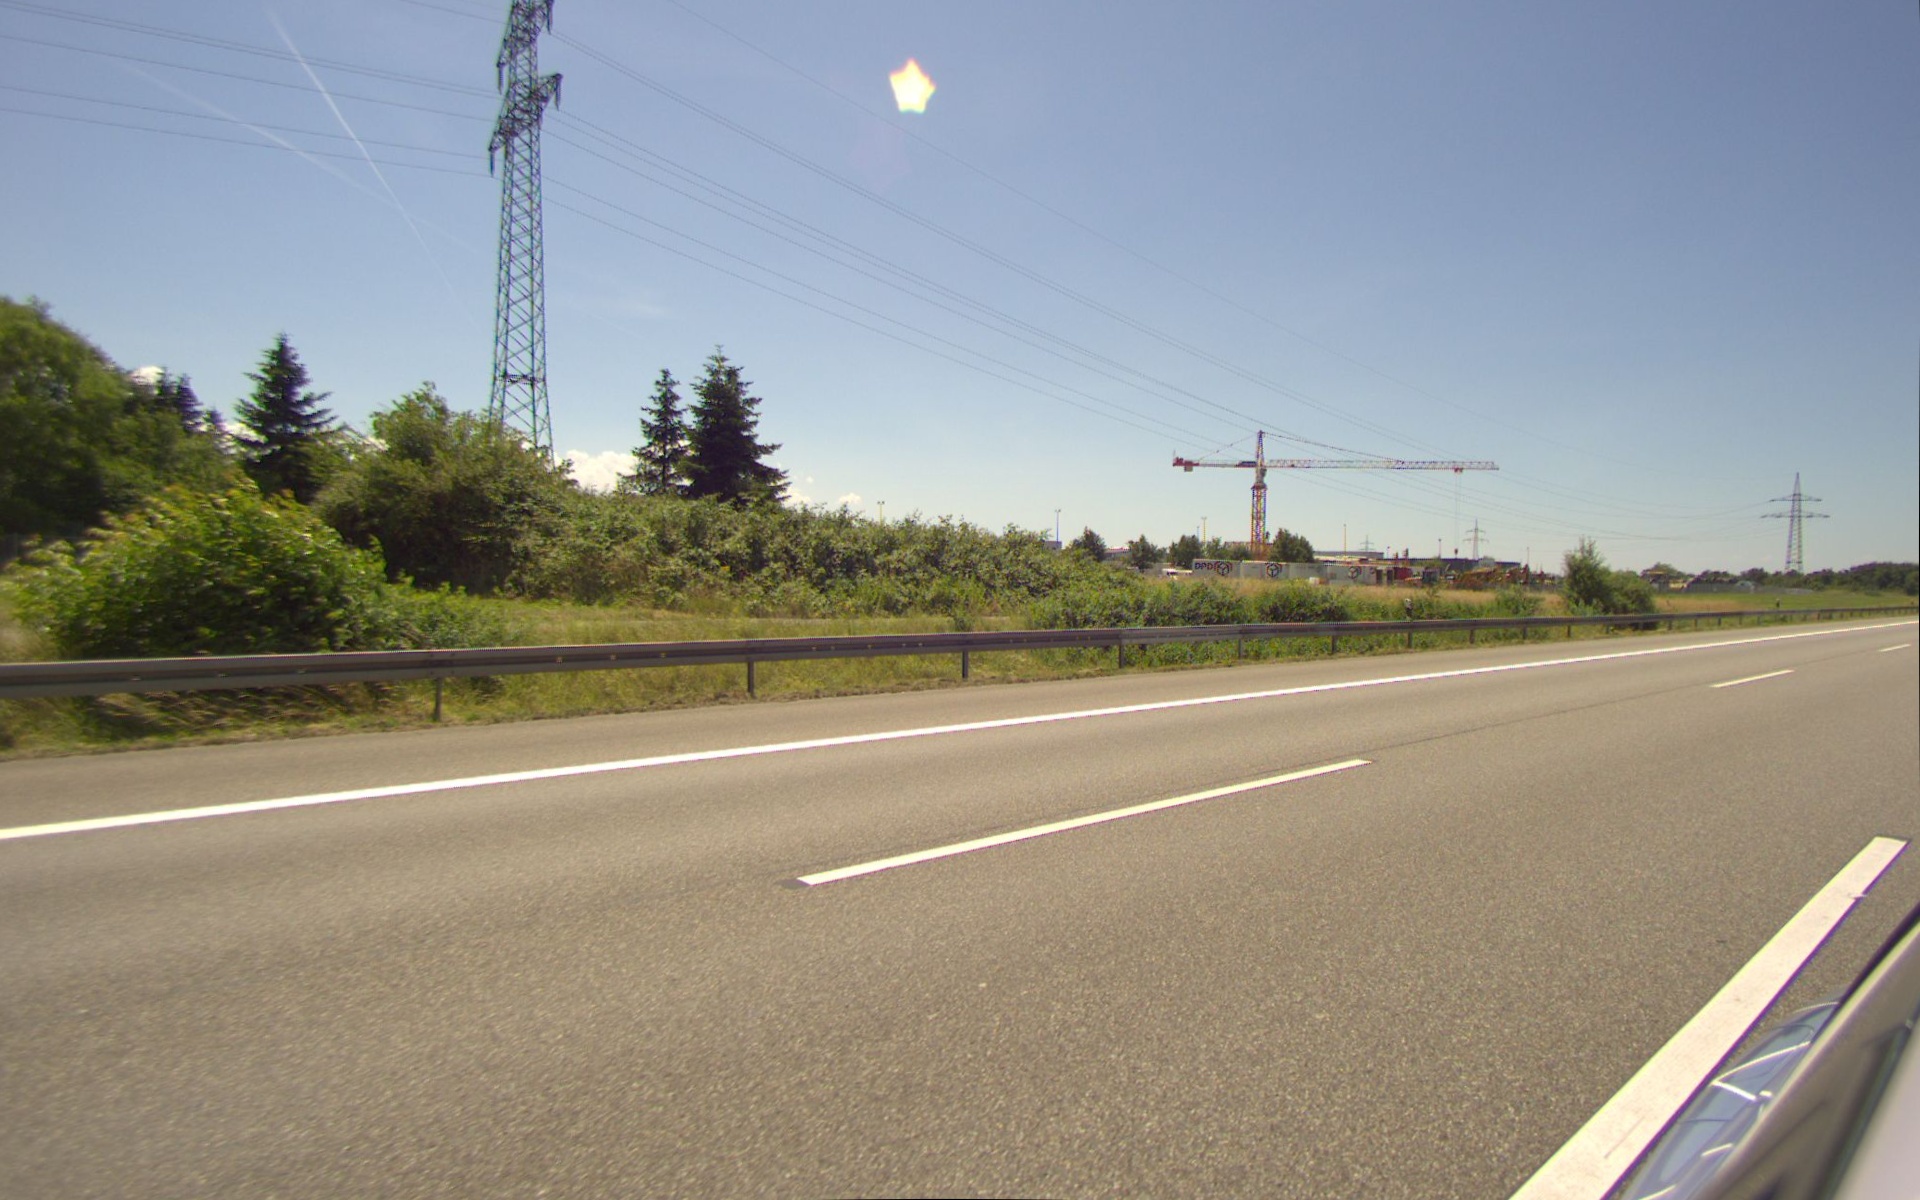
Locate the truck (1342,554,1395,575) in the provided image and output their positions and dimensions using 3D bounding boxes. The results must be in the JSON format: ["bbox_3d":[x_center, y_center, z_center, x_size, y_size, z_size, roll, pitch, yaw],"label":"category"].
[{"bbox_3d":[71.037,-6.198,176.059,8.134,3.454,2.797,3,3,39],"label":"truck"}]

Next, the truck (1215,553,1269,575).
[{"bbox_3d":[46.680,-5.973,167.482,8.120,3.454,2.604,3,2,34],"label":"truck"}]

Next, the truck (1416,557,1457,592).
[{"bbox_3d":[67.581,-3.530,143.507,5.876,4.833,3.050,0,0,-40],"label":"truck"}]

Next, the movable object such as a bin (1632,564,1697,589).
[{"bbox_3d":[131.521,-4.317,189.092,3.374,4.569,9.377,0,0,-38],"label":"movable object such as a bin"}]

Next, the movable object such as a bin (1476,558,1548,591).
[{"bbox_3d":[76.022,-3.416,139.499,3.290,4.351,8.112,0,0,-39],"label":"movable object such as a bin"}]

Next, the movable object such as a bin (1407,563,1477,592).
[{"bbox_3d":[61.061,-2.848,128.331,2.829,3.507,7.582,0,0,-39],"label":"movable object such as a bin"}]

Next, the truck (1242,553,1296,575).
[{"bbox_3d":[51.526,-6.016,168.839,8.120,3.454,2.803,3,2,34],"label":"truck"}]

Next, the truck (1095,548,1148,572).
[{"bbox_3d":[25.355,-6.297,159.174,8.150,3.454,2.713,4,3,44],"label":"truck"}]

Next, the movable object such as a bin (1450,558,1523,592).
[{"bbox_3d":[69.936,-3.276,134.595,2.829,4.351,8.112,0,0,-38],"label":"movable object such as a bin"}]

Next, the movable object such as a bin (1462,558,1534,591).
[{"bbox_3d":[72.630,-3.376,136.709,2.829,4.351,8.112,0,0,-38],"label":"movable object such as a bin"}]

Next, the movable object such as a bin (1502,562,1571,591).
[{"bbox_3d":[82.268,-3.283,144.565,3.081,4.001,8.112,0,0,-39],"label":"movable object such as a bin"}]

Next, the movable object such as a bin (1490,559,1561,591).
[{"bbox_3d":[79.376,-3.455,142.114,3.240,4.351,8.112,0,0,-39],"label":"movable object such as a bin"}]

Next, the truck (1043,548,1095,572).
[{"bbox_3d":[16.888,-6.214,157.209,8.150,3.454,2.713,4,3,44],"label":"truck"}]

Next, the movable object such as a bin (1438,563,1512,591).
[{"bbox_3d":[67.322,-2.916,132.433,2.829,3.507,8.112,0,0,-38],"label":"movable object such as a bin"}]

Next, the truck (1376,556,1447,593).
[{"bbox_3d":[61.998,-3.464,138.807,14.070,4.832,3.050,-1,0,-40],"label":"truck"}]

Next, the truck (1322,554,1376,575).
[{"bbox_3d":[67.091,-6.161,174.605,8.145,3.454,2.794,4,3,42],"label":"truck"}]

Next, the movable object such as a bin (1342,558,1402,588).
[{"bbox_3d":[66.701,-4.269,164.167,3.227,4.709,8.848,0,0,-30],"label":"movable object such as a bin"}]

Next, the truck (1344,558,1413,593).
[{"bbox_3d":[60.207,-3.487,145.413,13.883,4.832,3.050,-1,0,-40],"label":"truck"}]

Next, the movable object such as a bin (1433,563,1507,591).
[{"bbox_3d":[65.265,-2.886,129.701,2.829,3.507,8.112,0,0,-38],"label":"movable object such as a bin"}]

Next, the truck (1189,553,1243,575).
[{"bbox_3d":[41.981,-5.931,165.939,8.120,3.454,2.497,3,2,34],"label":"truck"}]

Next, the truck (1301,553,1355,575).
[{"bbox_3d":[62.915,-6.122,173.045,8.120,3.454,2.803,3,2,34],"label":"truck"}]

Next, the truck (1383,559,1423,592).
[{"bbox_3d":[65.664,-3.551,149.983,5.876,4.833,3.050,0,0,-40],"label":"truck"}]

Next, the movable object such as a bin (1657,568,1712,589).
[{"bbox_3d":[138.705,-4.062,193.746,2.829,3.955,8.112,0,0,-38],"label":"movable object such as a bin"}]

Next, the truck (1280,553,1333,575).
[{"bbox_3d":[58.733,-6.084,171.665,8.120,3.454,2.803,3,2,34],"label":"truck"}]
